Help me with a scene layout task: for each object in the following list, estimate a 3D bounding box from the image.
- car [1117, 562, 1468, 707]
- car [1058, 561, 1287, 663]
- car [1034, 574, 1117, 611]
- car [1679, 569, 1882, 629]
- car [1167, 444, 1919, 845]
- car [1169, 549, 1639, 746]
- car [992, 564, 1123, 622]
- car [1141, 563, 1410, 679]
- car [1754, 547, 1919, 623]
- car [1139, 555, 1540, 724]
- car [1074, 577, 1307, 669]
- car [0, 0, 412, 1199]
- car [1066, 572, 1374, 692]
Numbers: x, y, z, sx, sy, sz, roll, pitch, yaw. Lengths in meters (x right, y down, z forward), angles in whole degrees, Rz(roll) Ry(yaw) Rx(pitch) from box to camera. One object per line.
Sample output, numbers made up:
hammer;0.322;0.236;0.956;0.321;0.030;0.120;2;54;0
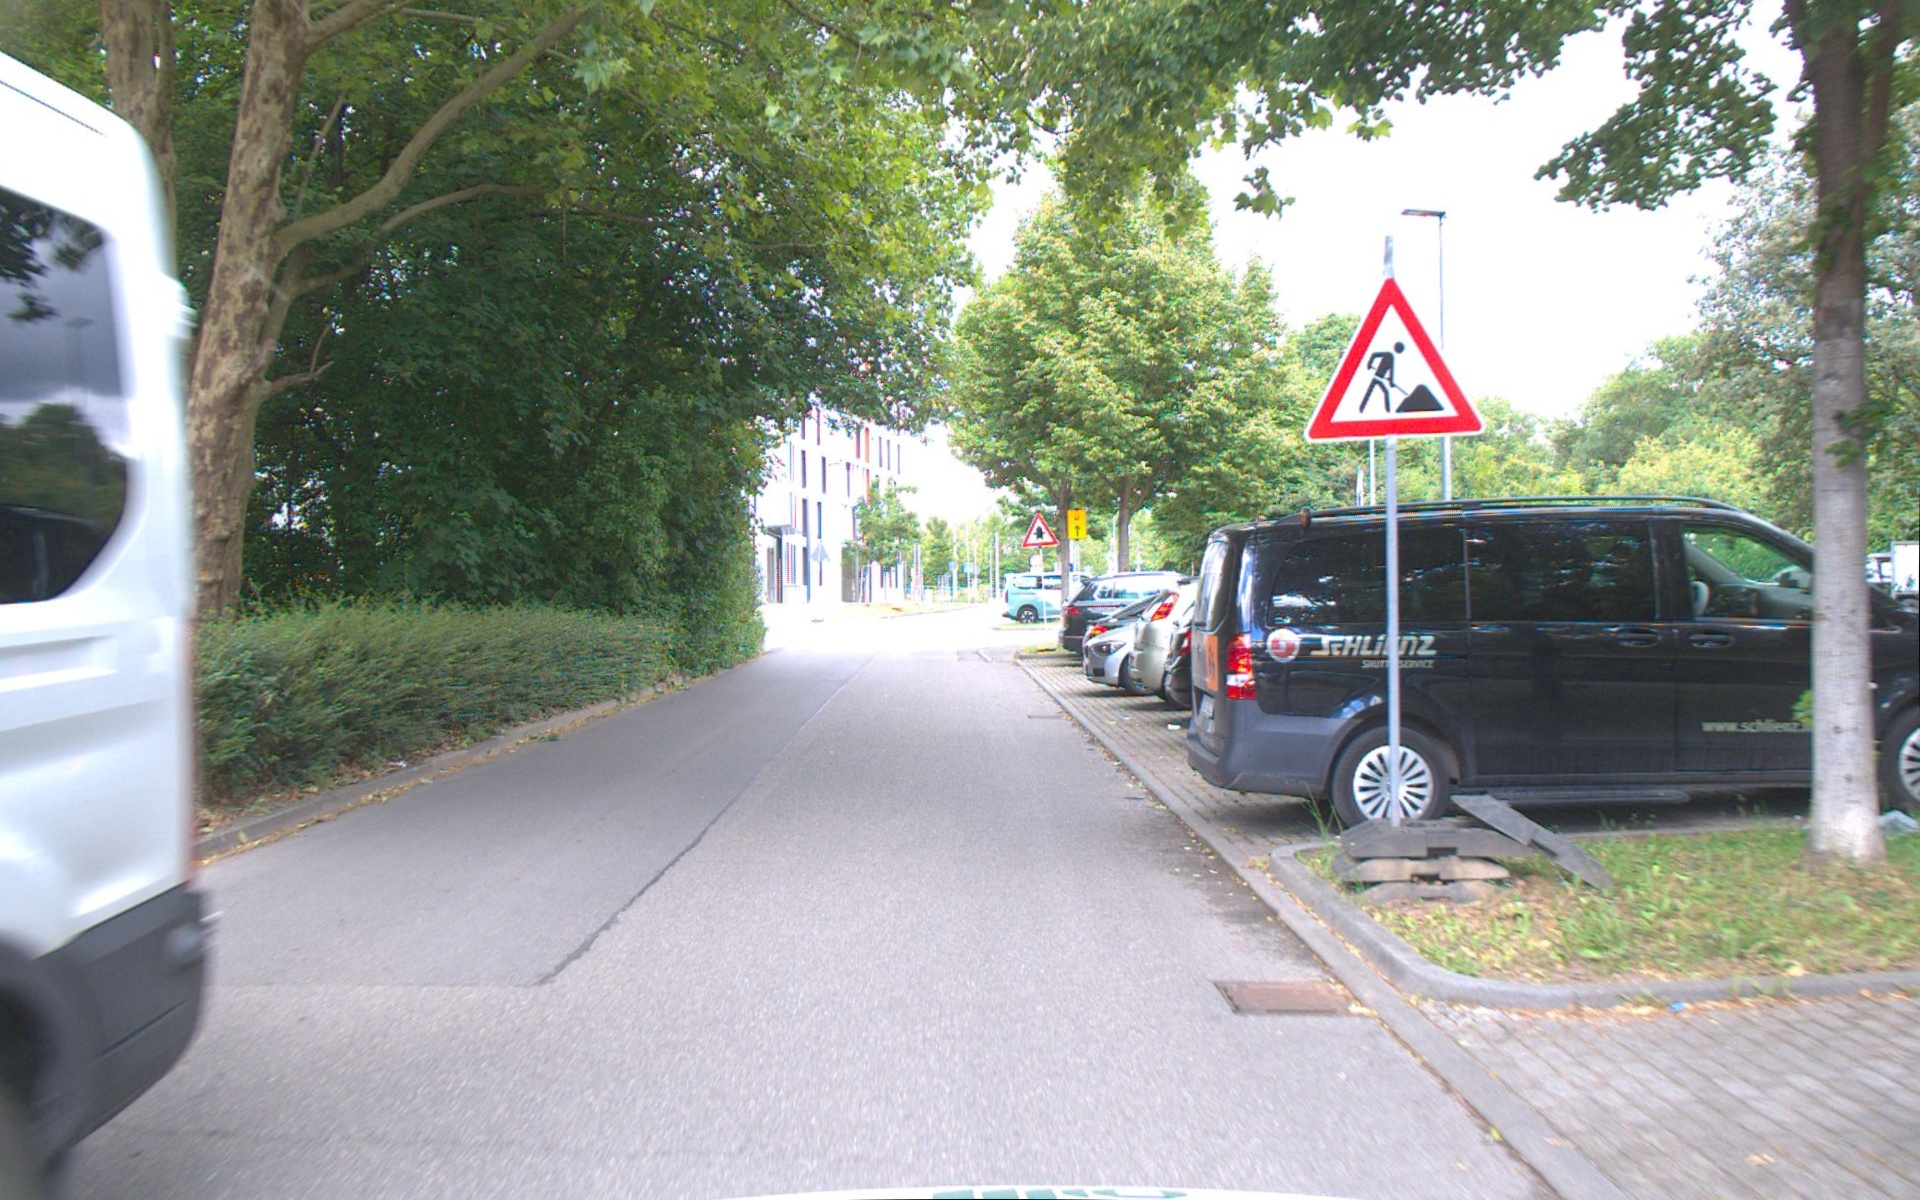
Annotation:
car;3.987;0.405;20.333;3.905;1.554;1.811;-2;0;0
car;3.885;0.226;30.827;4.038;1.678;1.981;-2;0;3
car;6.082;-0.407;86.963;4.286;1.937;1.937;0;0;4
car;20.868;-0.020;42.205;4.299;1.453;1.704;-1;0;5
car;3.894;0.216;10.373;4.853;2.048;2.166;-3;0;0
car;4.030;0.413;15.493;3.880;1.537;1.793;-3;0;0
car;3.712;-0.282;63.585;4.871;2.006;1.847;-2;0;0
car;4.814;0.311;25.620;3.755;1.585;1.818;-2;0;-1
car;25.852;-0.430;47.363;5.206;2.093;2.139;-1;0;5
car;3.979;0.401;17.829;3.879;1.537;1.763;-3;0;1
car;3.863;0.389;28.218;3.752;1.382;1.823;-2;0;3
car;-2.540;0.181;1.240;2.088;2.519;6.277;1;1;1
car;3.525;0.428;22.987;3.906;1.455;1.935;-2;0;-1
